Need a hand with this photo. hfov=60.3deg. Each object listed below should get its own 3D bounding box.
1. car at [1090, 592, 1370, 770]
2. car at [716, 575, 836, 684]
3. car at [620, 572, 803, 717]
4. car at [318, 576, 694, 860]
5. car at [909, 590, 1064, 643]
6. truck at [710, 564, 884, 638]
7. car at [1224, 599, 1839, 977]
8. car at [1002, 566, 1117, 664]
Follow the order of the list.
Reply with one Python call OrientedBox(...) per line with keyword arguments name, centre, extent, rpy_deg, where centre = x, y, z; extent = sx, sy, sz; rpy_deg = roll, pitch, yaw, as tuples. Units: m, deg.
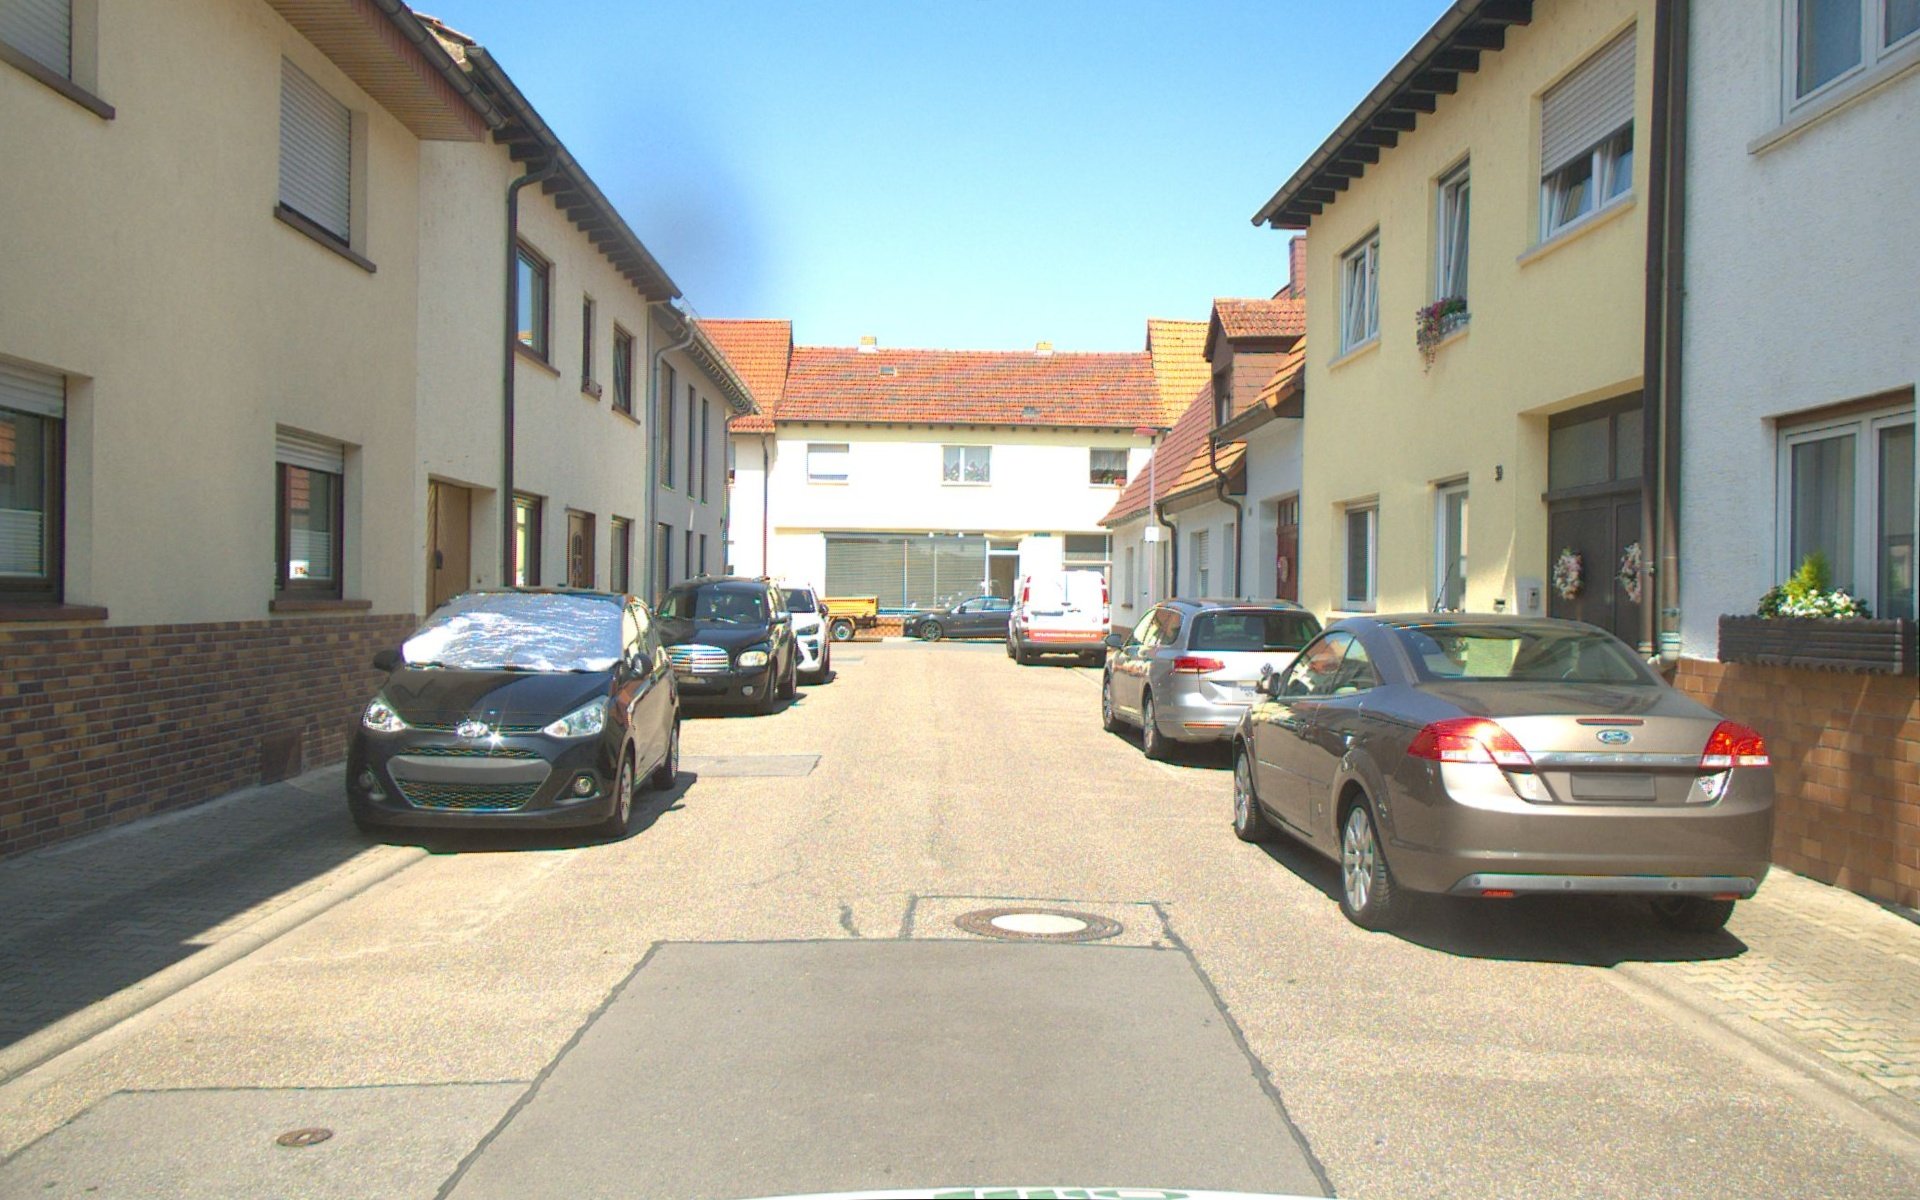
OrientedBox(name="car", centre=(2.511, 0.688, 16.581), extent=(1.802, 1.473, 4.774), rpy_deg=(2, 0, -3))
OrientedBox(name="car", centre=(-2.959, 0.448, 27.318), extent=(1.739, 1.643, 4.346), rpy_deg=(0, 0, -4))
OrientedBox(name="car", centre=(-3.009, 0.499, 20.780), extent=(1.687, 1.643, 3.989), rpy_deg=(0, 0, 0))
OrientedBox(name="car", centre=(-2.834, 0.647, 11.154), extent=(1.607, 1.564, 3.940), rpy_deg=(0, 0, -3))
OrientedBox(name="car", centre=(0.760, 0.518, 49.460), extent=(4.524, 1.419, 1.926), rpy_deg=(1, -3, -3))
OrientedBox(name="truck", centre=(-4.790, 0.032, 49.313), extent=(4.961, 2.049, 2.189), rpy_deg=(1, -1, -2))
OrientedBox(name="car", centre=(2.619, 0.753, 8.666), extent=(1.662, 1.460, 4.101), rpy_deg=(2, 0, -2))
OrientedBox(name="car", centre=(2.025, 0.296, 35.173), extent=(1.972, 1.871, 5.264), rpy_deg=(2, 0, -1))
